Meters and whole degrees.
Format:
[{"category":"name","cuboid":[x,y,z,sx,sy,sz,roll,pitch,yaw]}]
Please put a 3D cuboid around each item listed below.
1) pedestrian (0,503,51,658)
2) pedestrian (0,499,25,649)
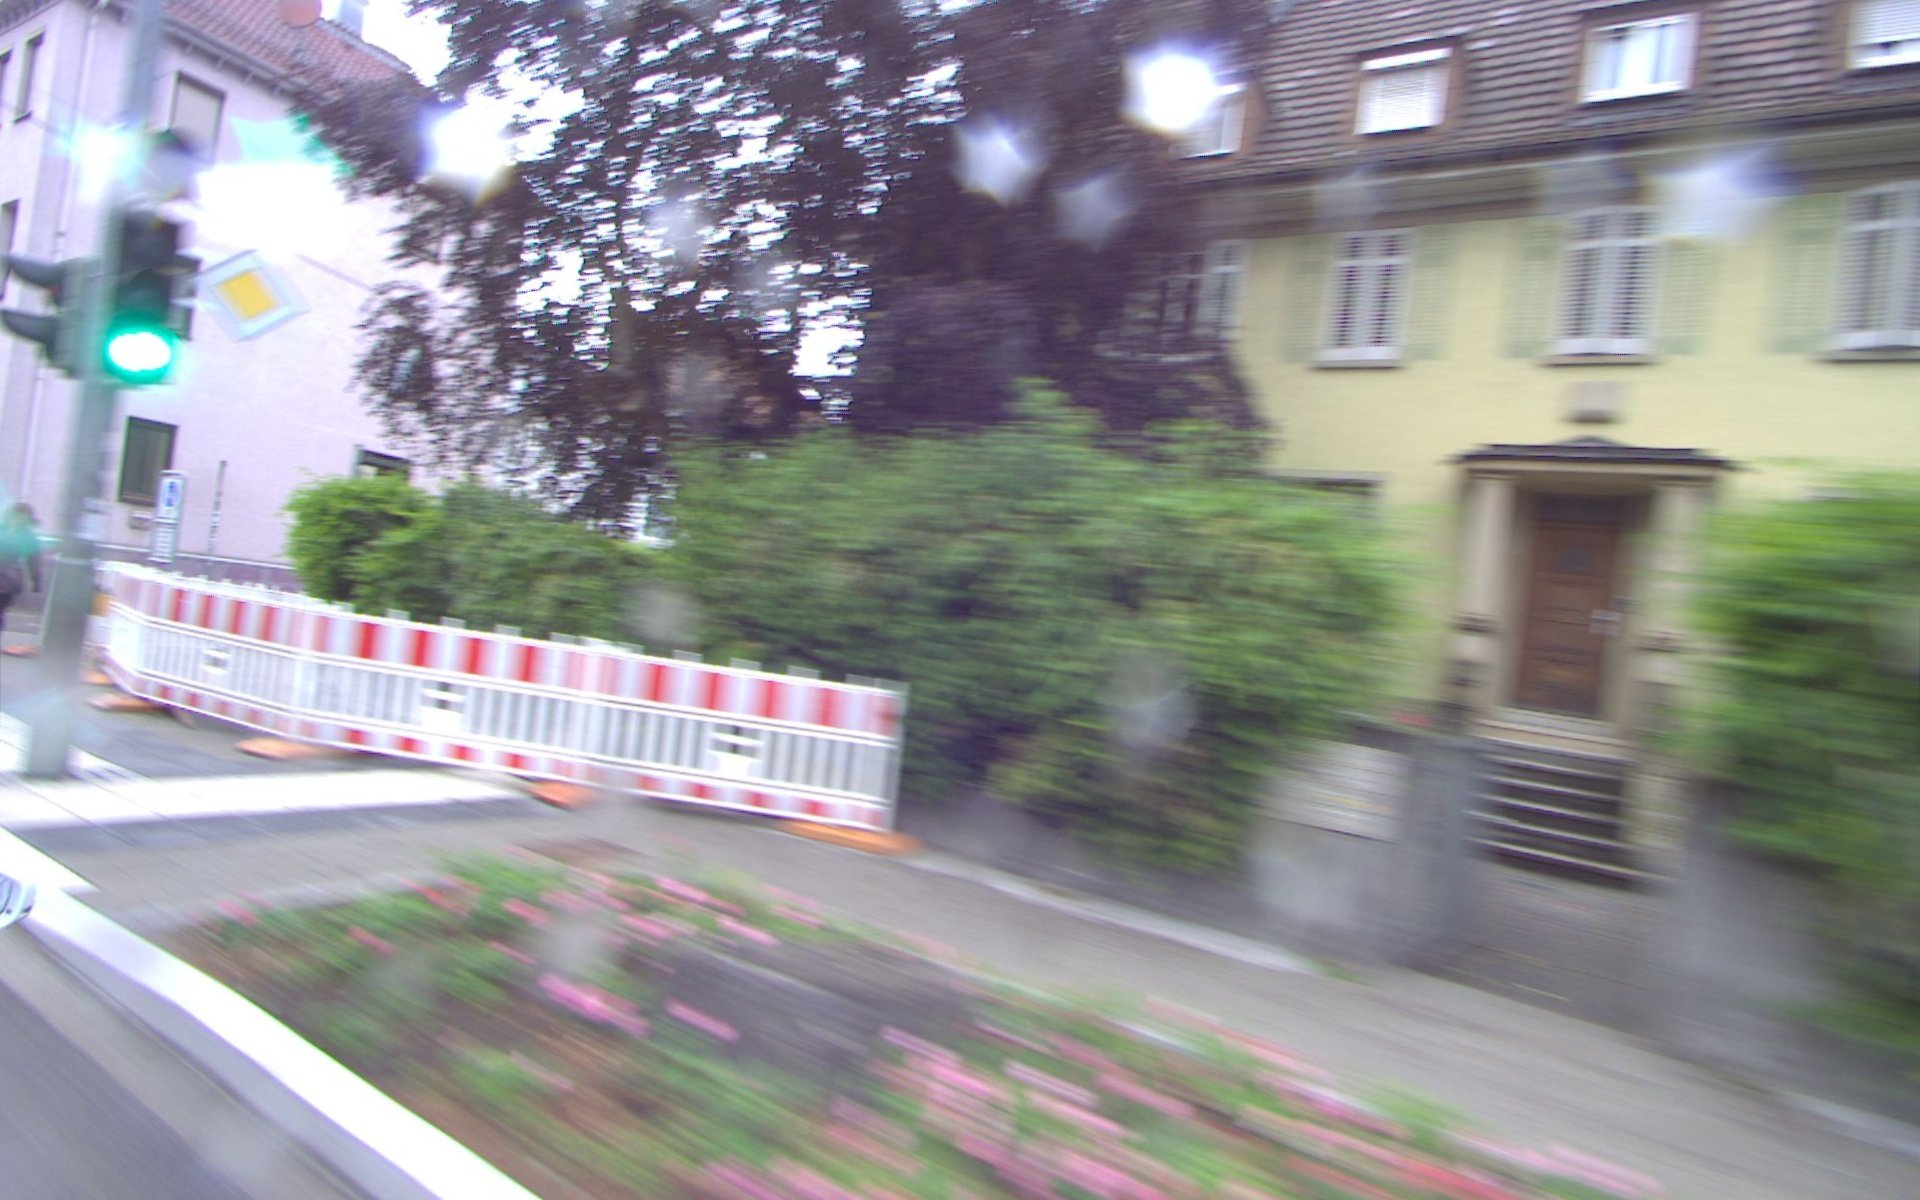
[{"category":"pedestrian","cuboid":[-10.453,-0.260,10.677,1.034,1.577,0.875,5,-3,39]},{"category":"pedestrian","cuboid":[-11.361,-0.365,11.350,1.203,1.659,0.785,5,-3,36]}]
